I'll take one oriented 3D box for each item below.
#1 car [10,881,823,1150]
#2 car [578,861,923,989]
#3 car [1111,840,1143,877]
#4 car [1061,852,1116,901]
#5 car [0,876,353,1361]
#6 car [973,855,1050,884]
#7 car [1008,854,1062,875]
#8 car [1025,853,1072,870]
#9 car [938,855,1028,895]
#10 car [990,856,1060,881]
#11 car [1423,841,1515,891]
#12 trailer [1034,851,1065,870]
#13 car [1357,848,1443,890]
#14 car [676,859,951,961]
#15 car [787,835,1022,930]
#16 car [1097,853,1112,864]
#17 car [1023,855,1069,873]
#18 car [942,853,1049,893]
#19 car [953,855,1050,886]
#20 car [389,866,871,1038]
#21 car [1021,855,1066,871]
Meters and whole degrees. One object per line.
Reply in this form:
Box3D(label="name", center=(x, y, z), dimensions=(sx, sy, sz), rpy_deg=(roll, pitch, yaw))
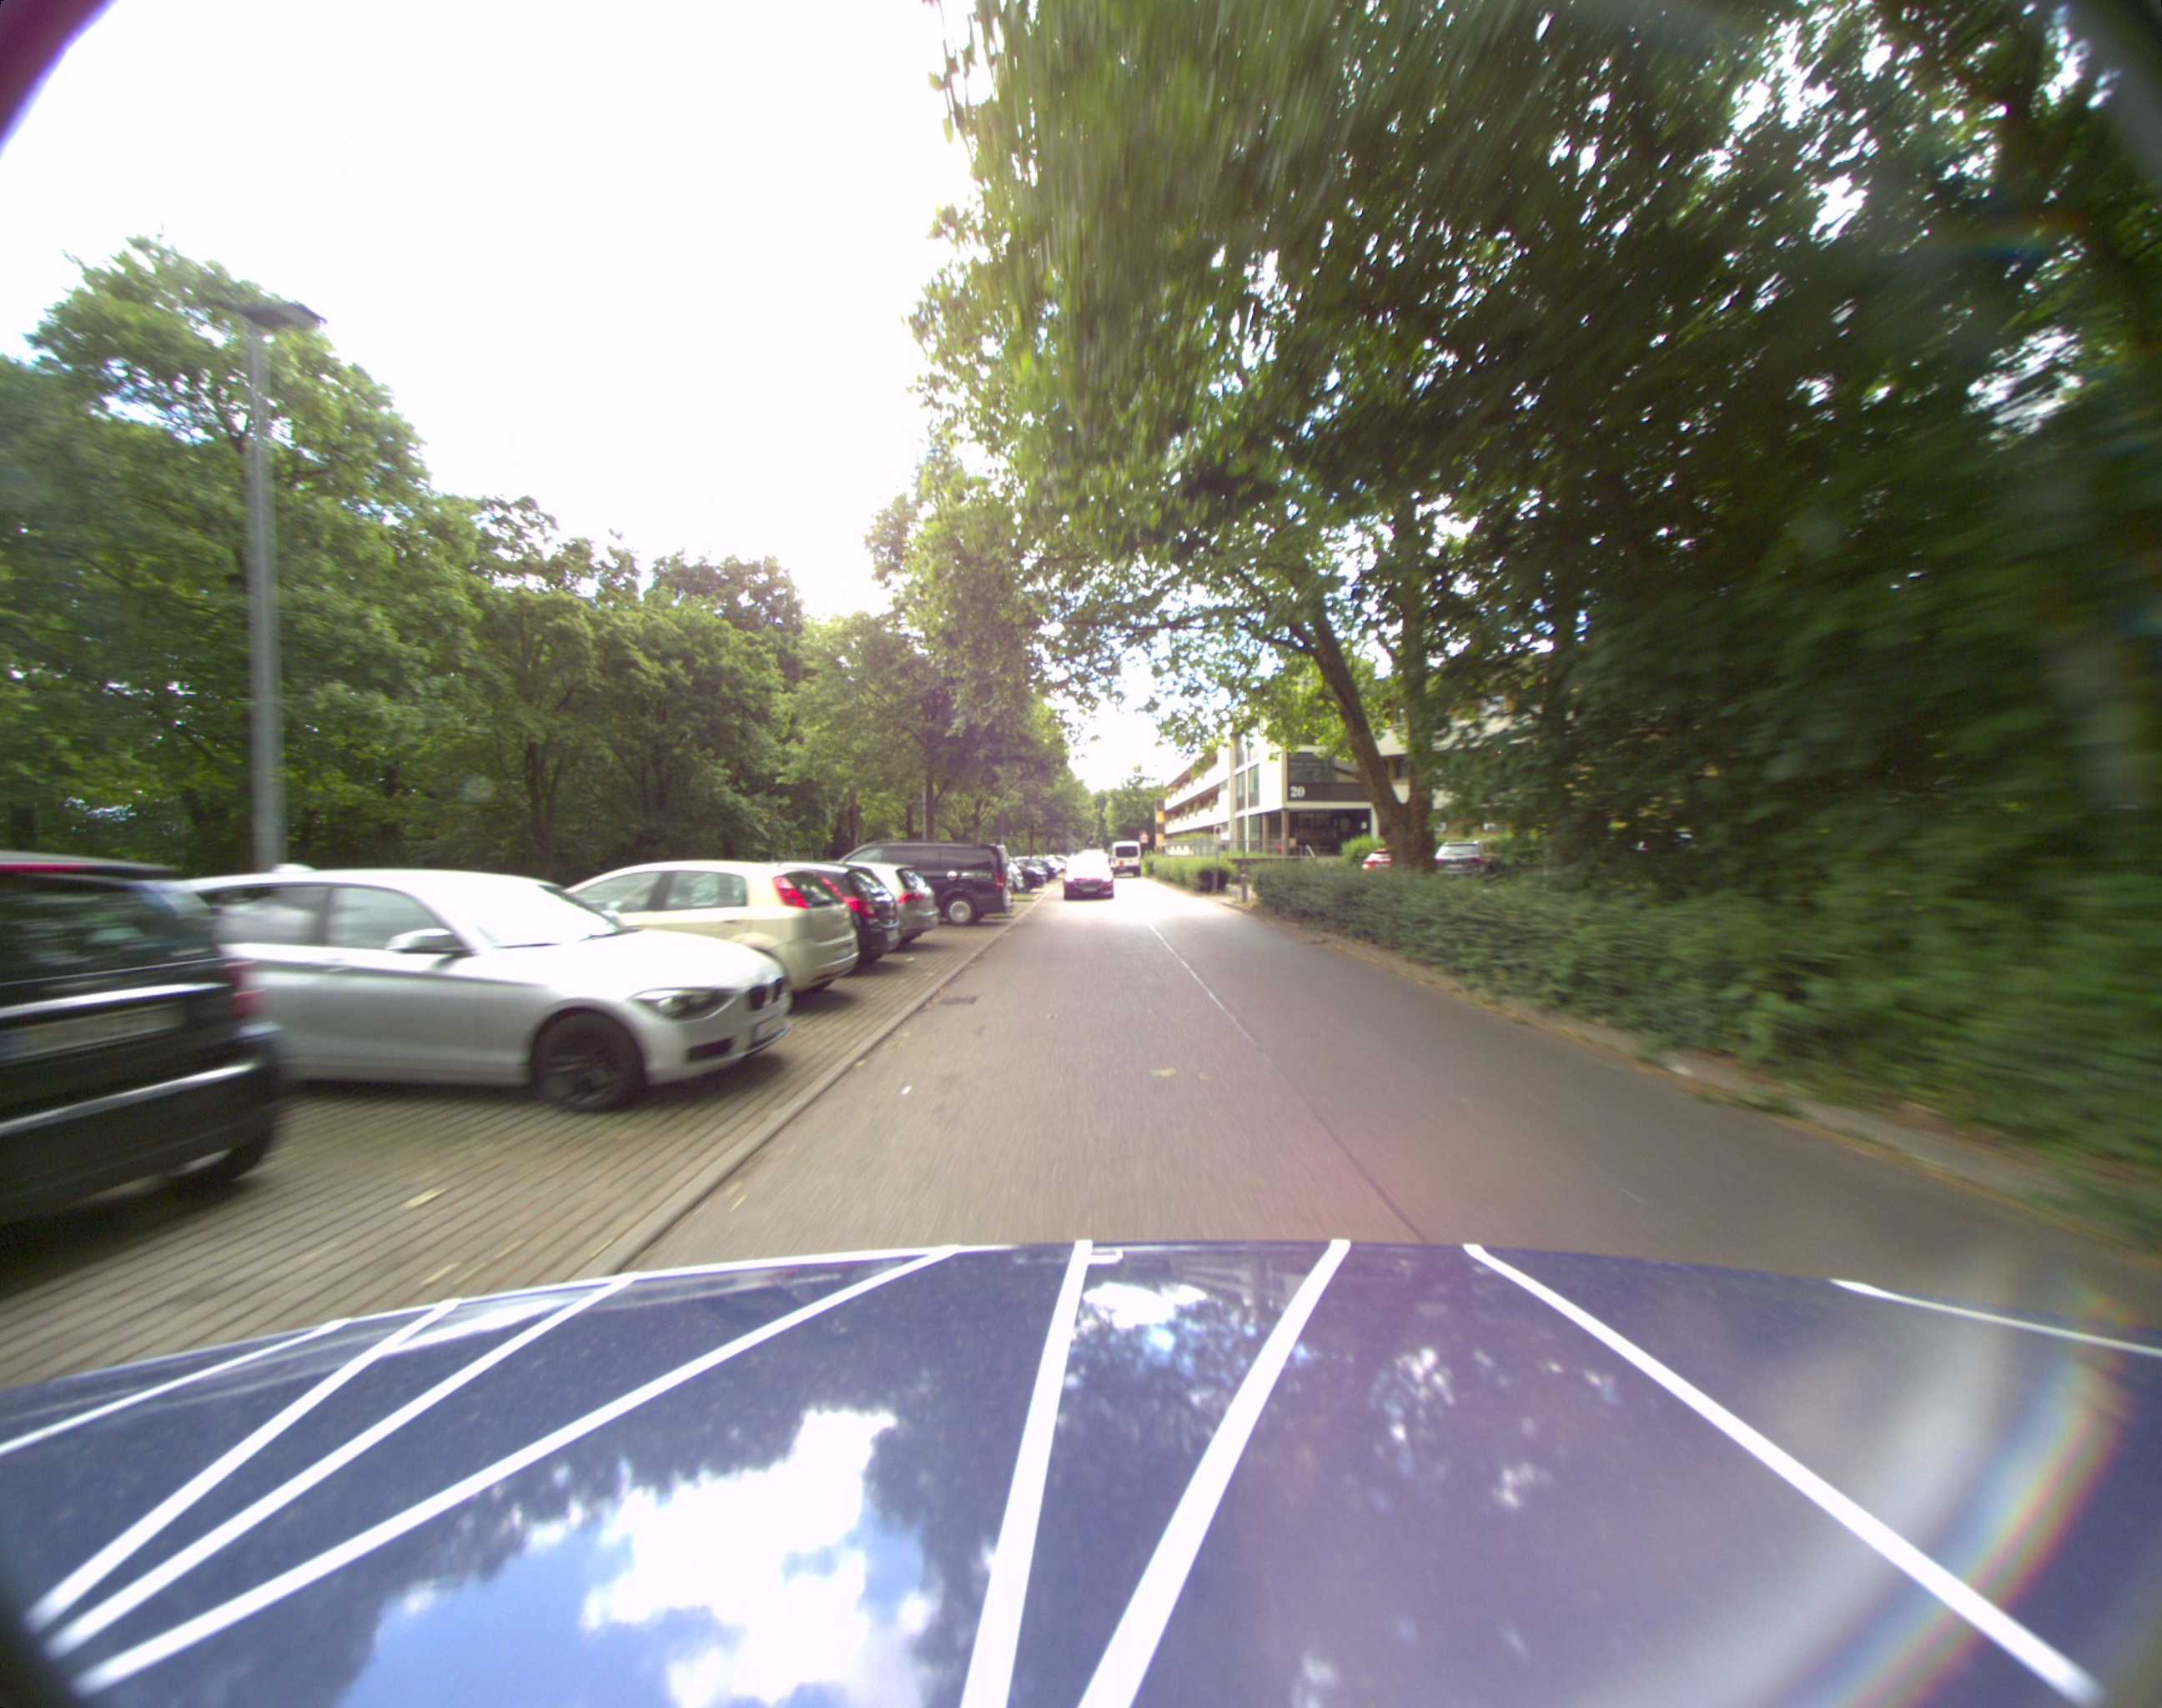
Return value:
Box3D(label="car", center=(-4.143, 0.961, 5.326), dimensions=(3.997, 1.422, 1.935), rpy_deg=(1, 1, 1))
Box3D(label="car", center=(-4.390, 0.904, 10.496), dimensions=(3.970, 1.502, 1.763), rpy_deg=(1, 0, 3))
Box3D(label="car", center=(3.342, 0.322, 56.429), dimensions=(2.137, 2.461, 6.278), rpy_deg=(-2, 0, 2))
Box3D(label="car", center=(0.287, 0.799, 29.654), dimensions=(1.918, 1.707, 5.038), rpy_deg=(-2, 0, 1))
Box3D(label="car", center=(-5.507, 0.892, 2.827), dimensions=(3.842, 1.549, 1.819), rpy_deg=(1, 1, 1))
Box3D(label="car", center=(-3.729, 0.844, 41.451), dimensions=(4.084, 1.508, 1.850), rpy_deg=(1, 0, -3))
Box3D(label="car", center=(-3.425, 0.813, 57.497), dimensions=(3.849, 1.507, 1.881), rpy_deg=(1, 0, 4))
Box3D(label="car", center=(-3.461, 0.794, 80.842), dimensions=(4.828, 1.683, 1.974), rpy_deg=(1, 0, 4))
Box3D(label="car", center=(-3.933, 0.830, 30.898), dimensions=(3.387, 1.565, 1.797), rpy_deg=(1, 0, 1))
Box3D(label="car", center=(-3.355, 0.864, 46.375), dimensions=(4.082, 1.448, 1.851), rpy_deg=(1, 0, 2))
Box3D(label="car", center=(13.907, 0.369, 27.146), dimensions=(1.820, 1.602, 4.008), rpy_deg=(-1, 1, 44))
Box3D(label="trailer", center=(-3.132, 0.628, 75.684), dimensions=(3.037, 1.780, 1.563), rpy_deg=(1, 1, -2))
Box3D(label="car", center=(12.451, 0.546, 29.531), dimensions=(1.744, 1.422, 4.008), rpy_deg=(-1, 1, 44))
Box3D(label="car", center=(-4.373, 0.879, 12.832), dimensions=(3.970, 1.502, 1.794), rpy_deg=(1, 0, 2))
Box3D(label="car", center=(-4.008, 0.626, 17.928), dimensions=(4.966, 2.002, 2.166), rpy_deg=(1, 0, 2))
Box3D(label="car", center=(3.175, 0.644, 104.714), dimensions=(1.918, 1.403, 4.423), rpy_deg=(-2, 0, 0))
Box3D(label="car", center=(-3.231, 0.926, 70.400), dimensions=(4.124, 1.539, 1.860), rpy_deg=(1, 0, -2))
Box3D(label="car", center=(-3.696, 0.804, 33.389), dimensions=(4.426, 1.666, 2.082), rpy_deg=(1, 0, 1))
Box3D(label="car", center=(-3.997, 0.816, 38.613), dimensions=(4.647, 1.508, 1.983), rpy_deg=(1, 0, 3))
Box3D(label="car", center=(-4.471, 0.924, 7.993), dimensions=(3.996, 1.519, 1.811), rpy_deg=(1, 1, 2))
Box3D(label="car", center=(-3.372, 0.801, 68.010), dimensions=(4.020, 1.414, 1.791), rpy_deg=(1, 0, -4))
